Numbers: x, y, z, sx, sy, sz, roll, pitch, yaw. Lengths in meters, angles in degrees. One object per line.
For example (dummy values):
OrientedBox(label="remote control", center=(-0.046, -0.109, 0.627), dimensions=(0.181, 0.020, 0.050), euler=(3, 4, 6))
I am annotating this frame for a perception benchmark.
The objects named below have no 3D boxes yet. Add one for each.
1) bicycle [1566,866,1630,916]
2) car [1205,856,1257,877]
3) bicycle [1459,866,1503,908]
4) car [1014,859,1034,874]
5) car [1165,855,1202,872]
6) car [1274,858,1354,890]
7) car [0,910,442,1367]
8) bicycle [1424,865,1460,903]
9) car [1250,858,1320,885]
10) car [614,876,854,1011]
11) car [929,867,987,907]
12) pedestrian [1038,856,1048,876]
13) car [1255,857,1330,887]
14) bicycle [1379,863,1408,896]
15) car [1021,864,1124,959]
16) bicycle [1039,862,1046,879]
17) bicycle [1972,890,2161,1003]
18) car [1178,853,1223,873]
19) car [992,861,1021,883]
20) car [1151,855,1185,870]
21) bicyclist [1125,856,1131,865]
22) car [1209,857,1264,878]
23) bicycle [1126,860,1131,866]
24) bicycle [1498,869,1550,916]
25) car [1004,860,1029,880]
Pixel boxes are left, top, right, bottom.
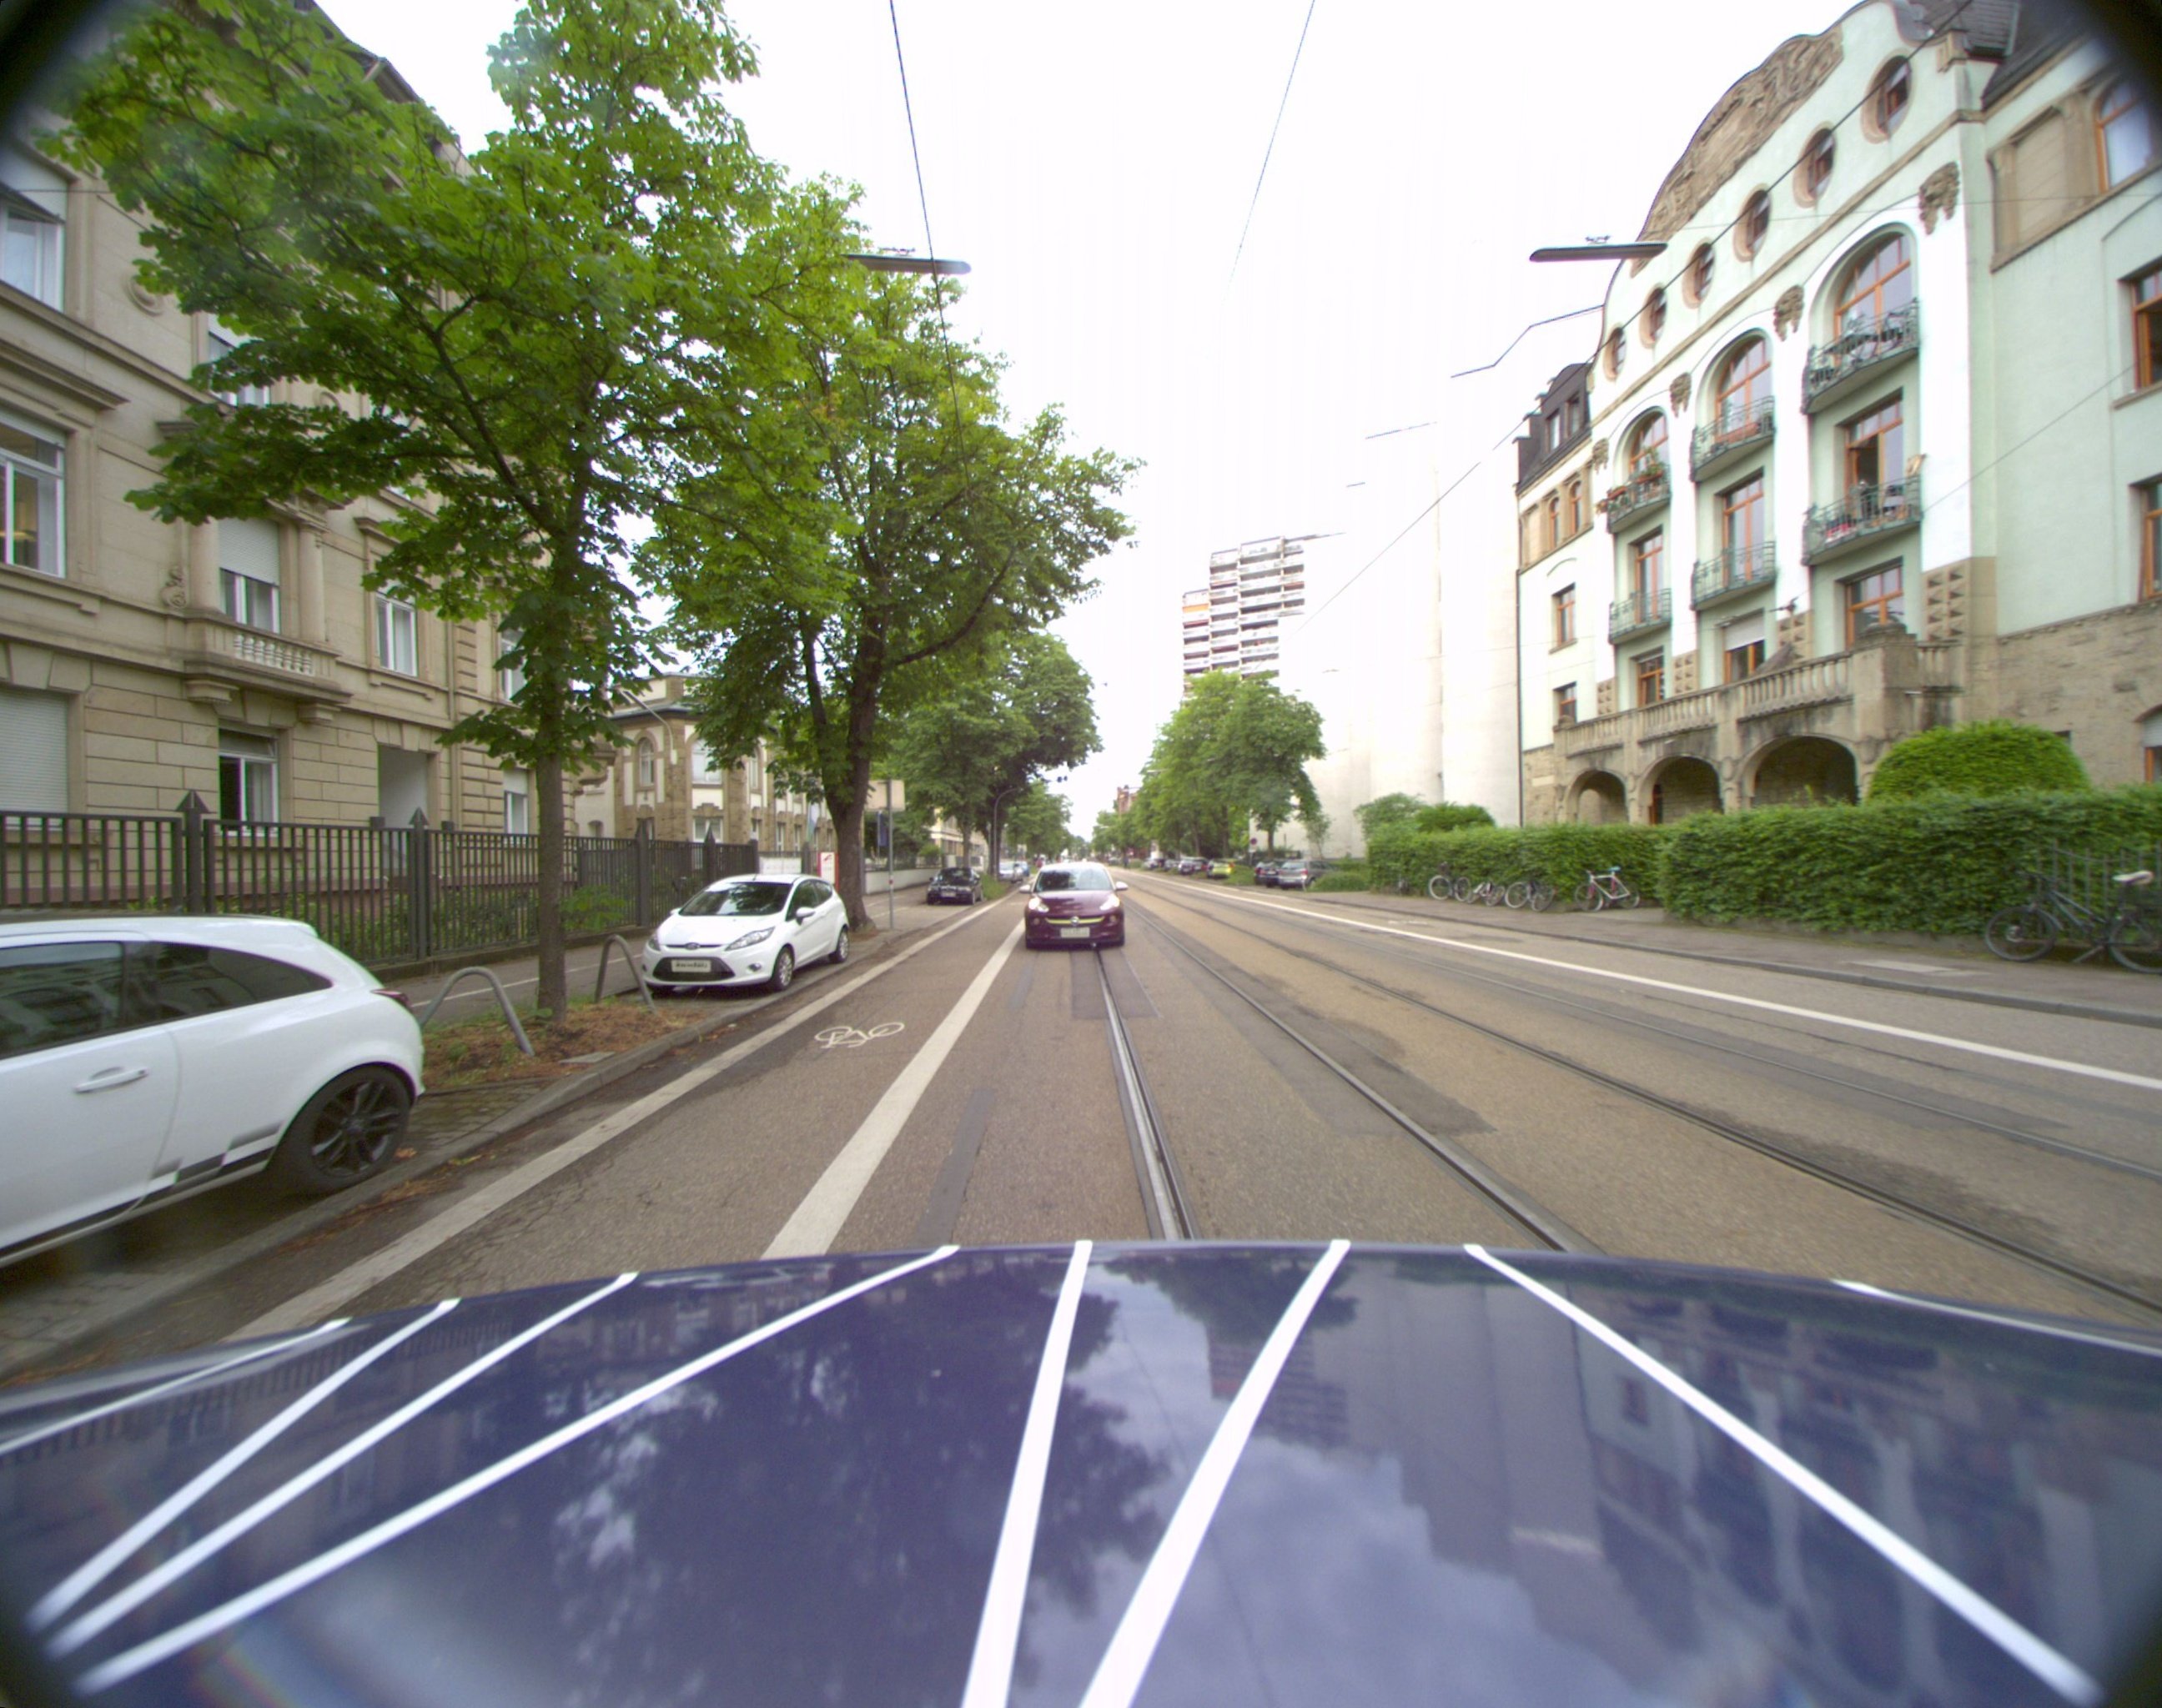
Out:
OrientedBox(label="bicycle", center=(11.849, 0.840, 17.439), dimensions=(1.205, 1.077, 0.300), euler=(-3, 0, 1))
OrientedBox(label="car", center=(10.893, 0.896, 55.108), dimensions=(4.008, 1.434, 1.690), euler=(-1, 0, -44))
OrientedBox(label="bicycle", center=(10.884, 0.886, 20.725), dimensions=(0.360, 1.077, 1.546), euler=(-1, 0, -1))
OrientedBox(label="car", center=(-5.338, 1.136, 71.429), dimensions=(1.606, 1.362, 3.836), euler=(1, 0, 0))
OrientedBox(label="car", center=(10.592, 0.950, 78.245), dimensions=(4.008, 1.611, 1.690), euler=(-1, 0, -44))
OrientedBox(label="car", center=(11.036, 0.889, 35.886), dimensions=(4.008, 1.395, 1.691), euler=(-1, 0, -40))
OrientedBox(label="car", center=(-4.542, 1.054, 2.531), dimensions=(1.606, 1.427, 3.776), euler=(1, 0, 1))
OrientedBox(label="bicycle", center=(10.934, 0.887, 23.055), dimensions=(0.360, 1.077, 1.546), euler=(-1, 0, -1))
OrientedBox(label="car", center=(11.274, 0.925, 41.888), dimensions=(4.008, 1.395, 1.691), euler=(-1, 0, -40))
OrientedBox(label="car", center=(-4.566, 1.089, 10.651), dimensions=(1.631, 1.427, 3.764), euler=(1, 0, 0))
OrientedBox(label="car", center=(-4.660, 1.225, 29.210), dimensions=(1.606, 1.362, 3.836), euler=(1, 0, 0))
OrientedBox(label="pedestrian", center=(-2.908, 0.907, 58.249), dimensions=(0.684, 1.541, 0.704), euler=(-1, 1, 0))
OrientedBox(label="car", center=(10.818, 0.893, 38.717), dimensions=(4.008, 1.395, 1.691), euler=(-1, 0, -40))
OrientedBox(label="bicycle", center=(10.829, 0.870, 26.346), dimensions=(0.360, 1.077, 1.546), euler=(-1, 0, -1))
OrientedBox(label="car", center=(-0.119, 0.946, 14.138), dimensions=(1.606, 1.427, 3.776), euler=(-2, 0, 1))
OrientedBox(label="bicycle", center=(-2.952, 1.260, 58.430), dimensions=(0.414, 1.197, 1.707), euler=(-1, 0, 0))
OrientedBox(label="bicycle", center=(11.055, 0.973, 8.496), dimensions=(0.360, 1.077, 1.546), euler=(-1, 0, -1))
OrientedBox(label="car", center=(10.242, 0.768, 64.824), dimensions=(4.008, 1.611, 1.690), euler=(-1, 0, -44))
OrientedBox(label="car", center=(-5.022, 1.218, 51.660), dimensions=(1.606, 1.362, 3.836), euler=(1, 0, 0))
OrientedBox(label="car", center=(10.089, 0.951, 88.072), dimensions=(4.008, 1.611, 1.690), euler=(-1, 0, -44))
OrientedBox(label="bicyclist", center=(6.713, 0.893, 107.823), dimensions=(0.752, 1.247, 0.875), euler=(-1, 0, 0))
OrientedBox(label="car", center=(10.700, 0.911, 52.055), dimensions=(4.008, 1.386, 1.690), euler=(-1, 0, -44))
OrientedBox(label="bicycle", center=(6.764, 1.242, 107.769), dimensions=(0.568, 0.784, 1.890), euler=(-1, 0, -1))
OrientedBox(label="bicycle", center=(10.904, 0.923, 18.759), dimensions=(0.360, 1.077, 1.546), euler=(-1, 0, -1))
OrientedBox(label="car", center=(-4.973, 1.235, 59.004), dimensions=(1.606, 1.416, 3.836), euler=(1, 0, 0))
